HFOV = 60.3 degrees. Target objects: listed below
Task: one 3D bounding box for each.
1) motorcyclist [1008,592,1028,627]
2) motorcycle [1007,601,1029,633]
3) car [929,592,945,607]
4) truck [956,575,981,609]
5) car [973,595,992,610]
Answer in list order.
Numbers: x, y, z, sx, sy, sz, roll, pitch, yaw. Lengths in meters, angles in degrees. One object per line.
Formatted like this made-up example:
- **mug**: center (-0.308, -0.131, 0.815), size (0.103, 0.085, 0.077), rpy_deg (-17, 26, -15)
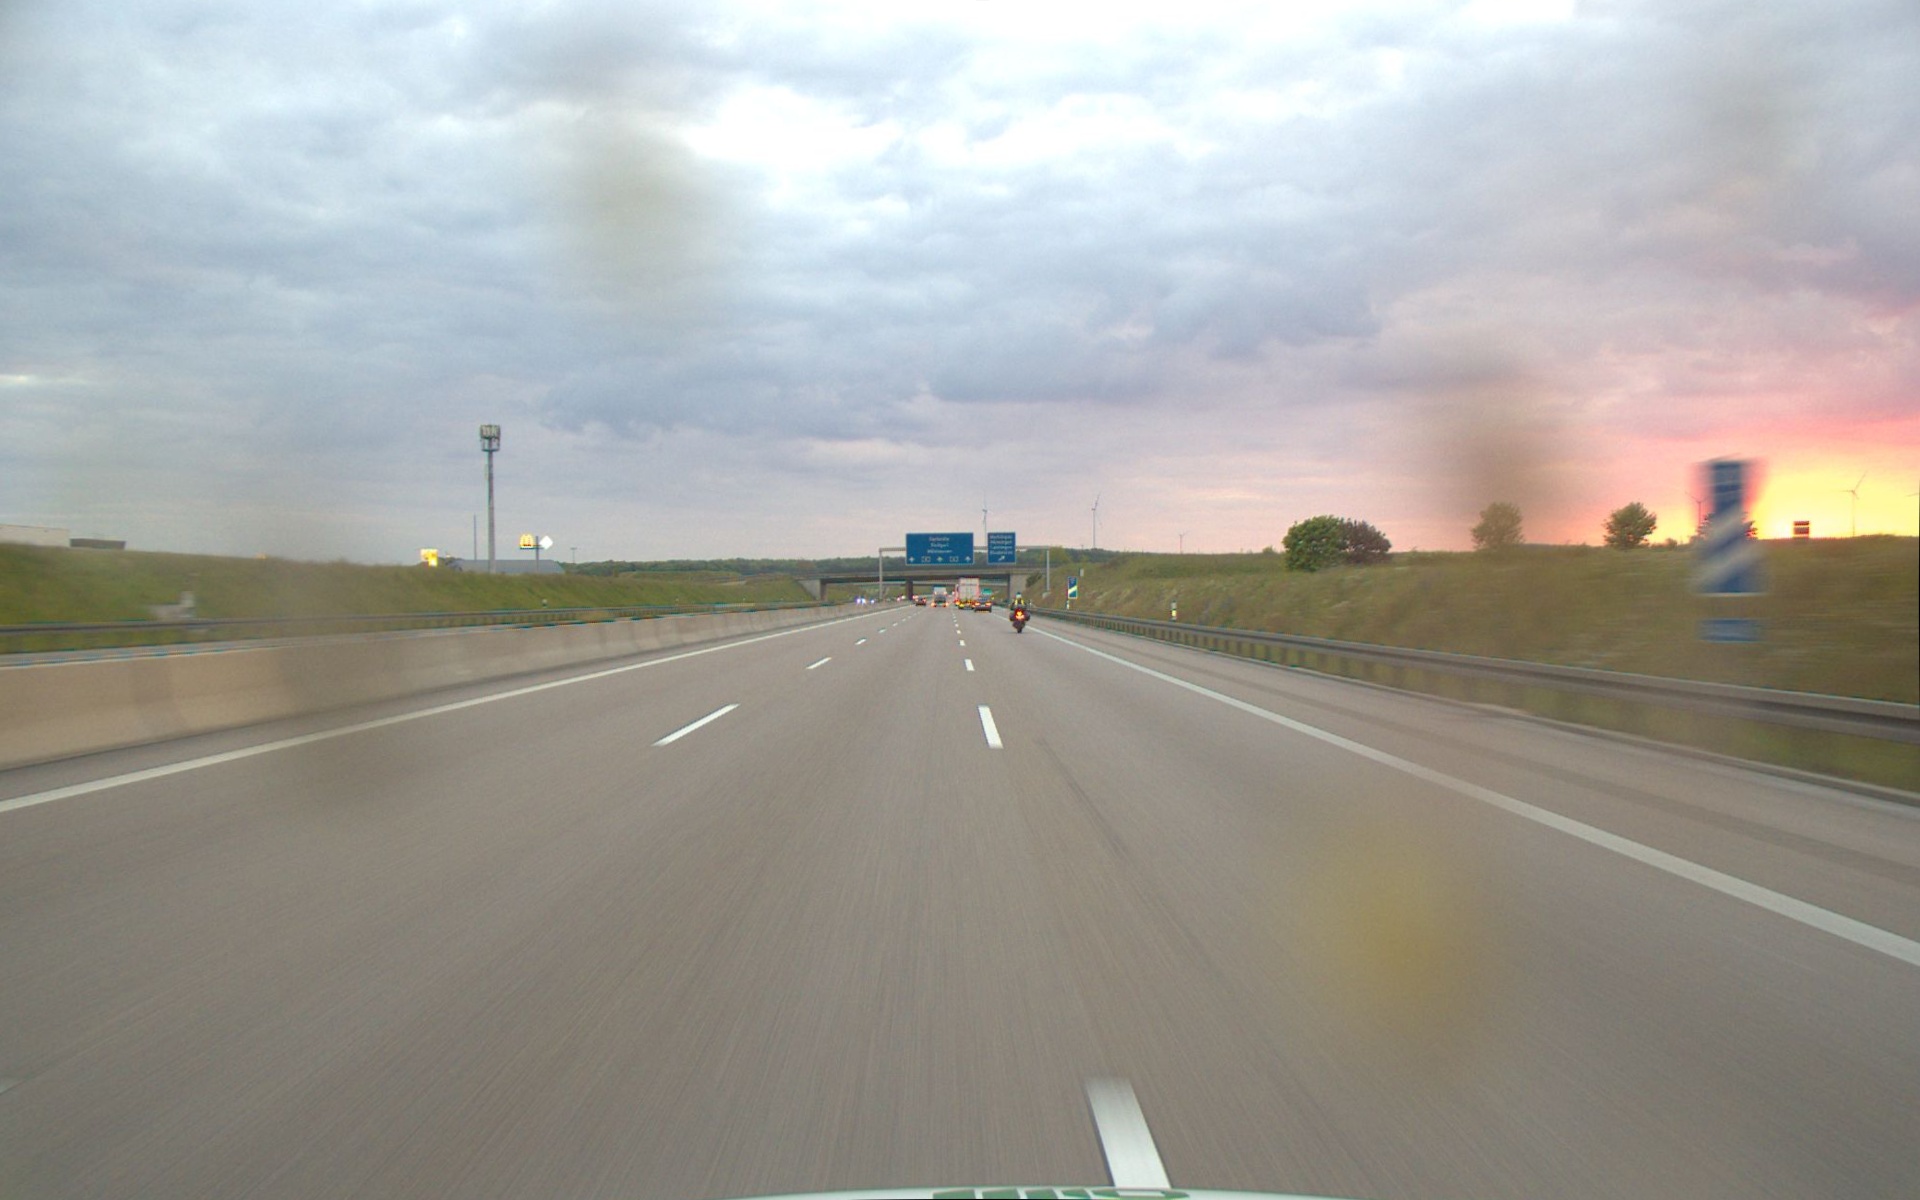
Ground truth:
- **motorcyclist**: center (2.586, 0.428, 73.684), size (0.848, 1.513, 1.168), rpy_deg (1, 0, 0)
- **motorcycle**: center (2.591, 0.756, 73.855), size (0.883, 1.370, 2.349), rpy_deg (0, 1, 0)
- **car**: center (-3.559, -0.080, 258.977), size (2.465, 2.433, 6.494), rpy_deg (0, 0, -1)
- **truck**: center (1.121, -1.086, 219.115), size (3.167, 4.301, 9.598), rpy_deg (1, 1, 0)
- **car**: center (2.368, 0.274, 176.669), size (1.879, 1.607, 3.999), rpy_deg (0, 0, -1)
